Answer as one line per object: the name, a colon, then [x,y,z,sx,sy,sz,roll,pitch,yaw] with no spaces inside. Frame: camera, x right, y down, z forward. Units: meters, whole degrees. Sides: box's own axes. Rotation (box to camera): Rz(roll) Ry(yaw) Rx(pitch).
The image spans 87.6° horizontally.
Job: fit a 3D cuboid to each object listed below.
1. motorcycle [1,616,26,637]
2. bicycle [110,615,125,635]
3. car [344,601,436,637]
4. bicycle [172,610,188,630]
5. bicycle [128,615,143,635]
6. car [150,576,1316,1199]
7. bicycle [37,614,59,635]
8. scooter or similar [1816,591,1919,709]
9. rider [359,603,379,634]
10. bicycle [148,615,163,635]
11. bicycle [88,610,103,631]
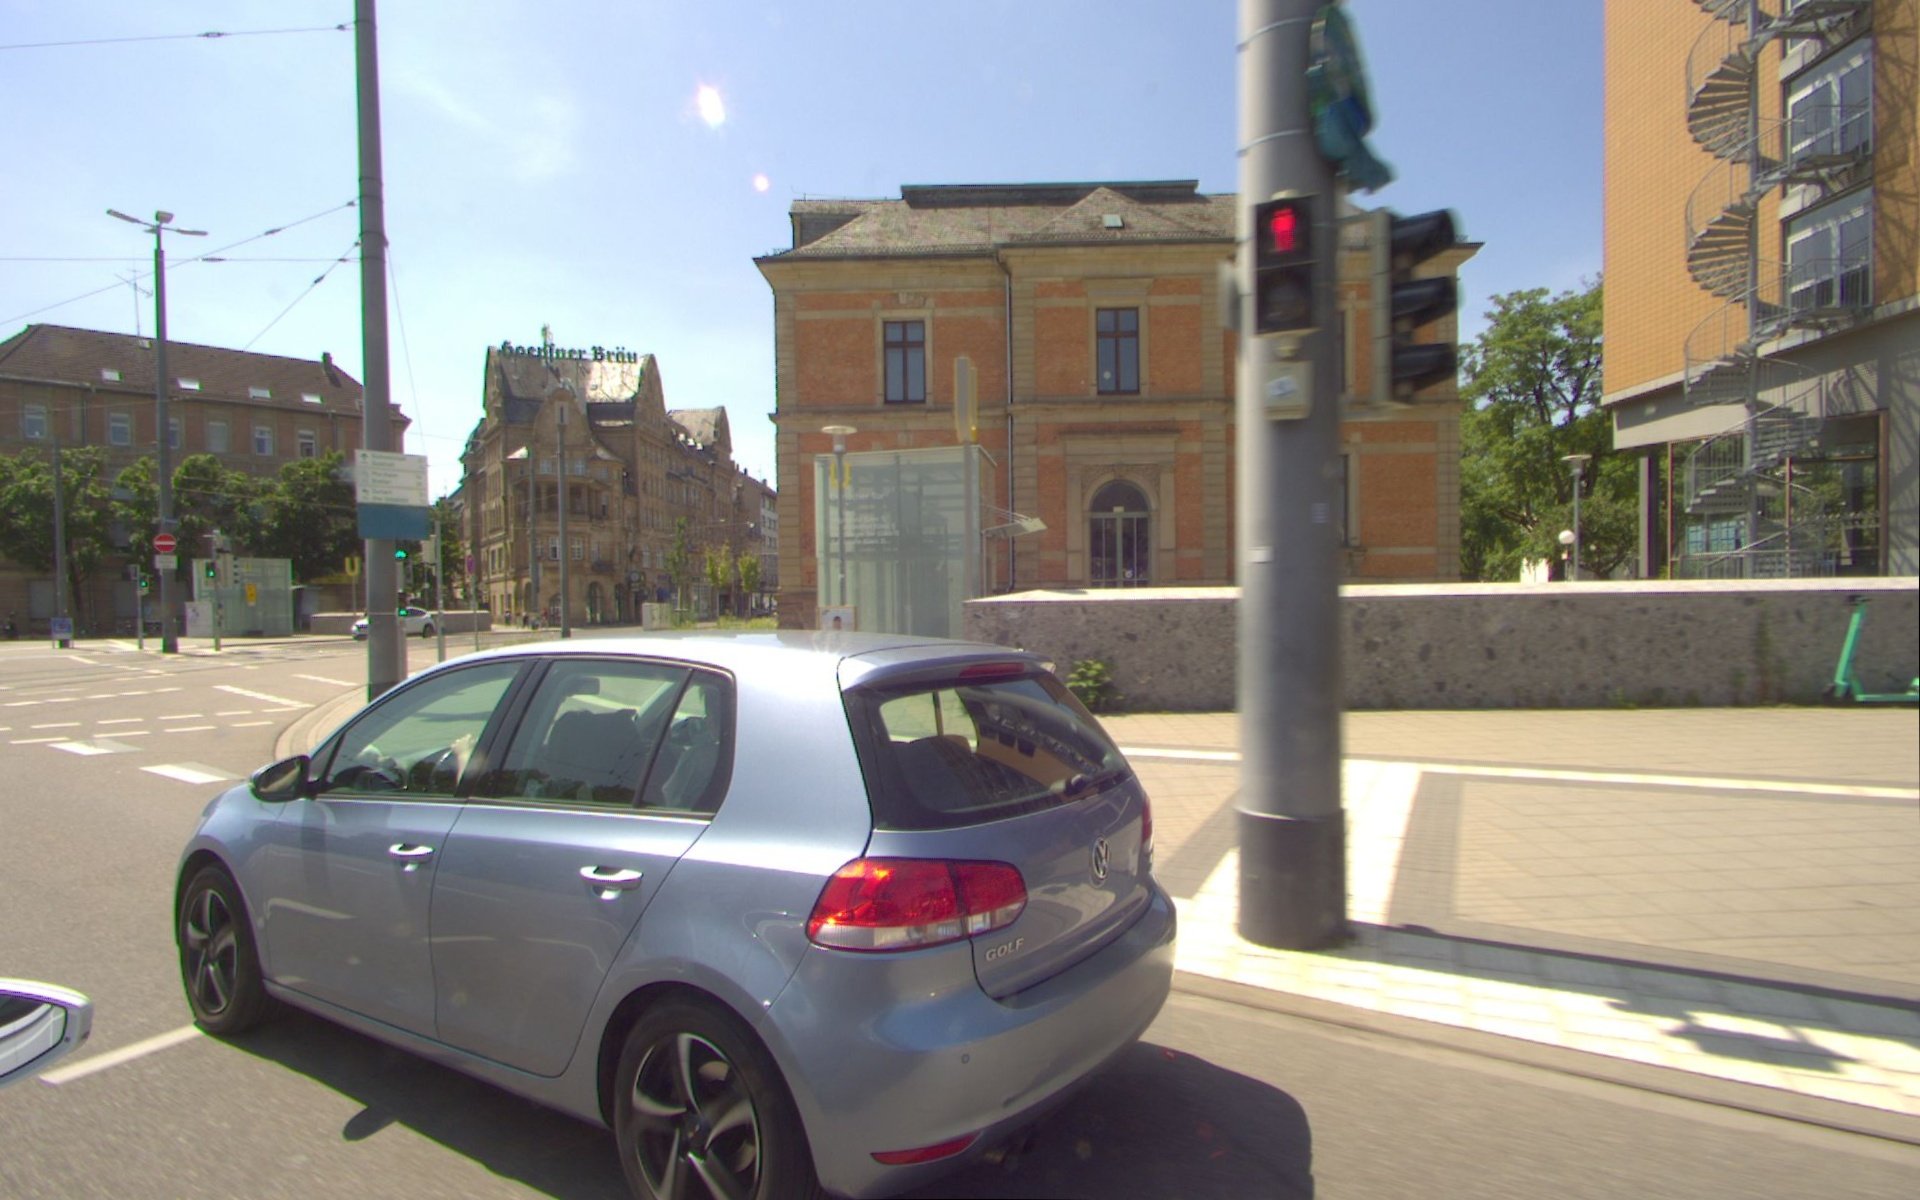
motorcycle: [-50.416,1.417,53.323,1.919,1.089,0.578,0,1,35]
bicycle: [-47.628,1.394,56.627,0.547,1.134,1.803,-1,0,-43]
car: [-27.321,0.889,48.126,1.662,1.626,4.192,0,0,7]
bicycle: [-46.315,1.175,59.435,0.547,1.135,1.911,-1,1,-43]
bicycle: [-47.204,1.418,57.327,0.547,1.134,1.871,-1,0,-43]
car: [-0.999,0.743,3.451,3.947,1.478,1.648,-1,-1,33]
bicycle: [-49.556,1.318,54.403,1.797,1.135,0.549,0,1,37]
scooter or similar: [9.641,0.508,10.285,1.227,1.186,0.458,-1,1,11]
rider: [-31.843,0.982,53.953,0.553,1.622,0.875,0,1,-1]
bicycle: [-46.971,1.461,58.455,0.547,1.134,1.853,-1,0,-43]
bicycle: [-48.337,1.132,56.000,0.547,1.135,1.803,-1,1,-43]
